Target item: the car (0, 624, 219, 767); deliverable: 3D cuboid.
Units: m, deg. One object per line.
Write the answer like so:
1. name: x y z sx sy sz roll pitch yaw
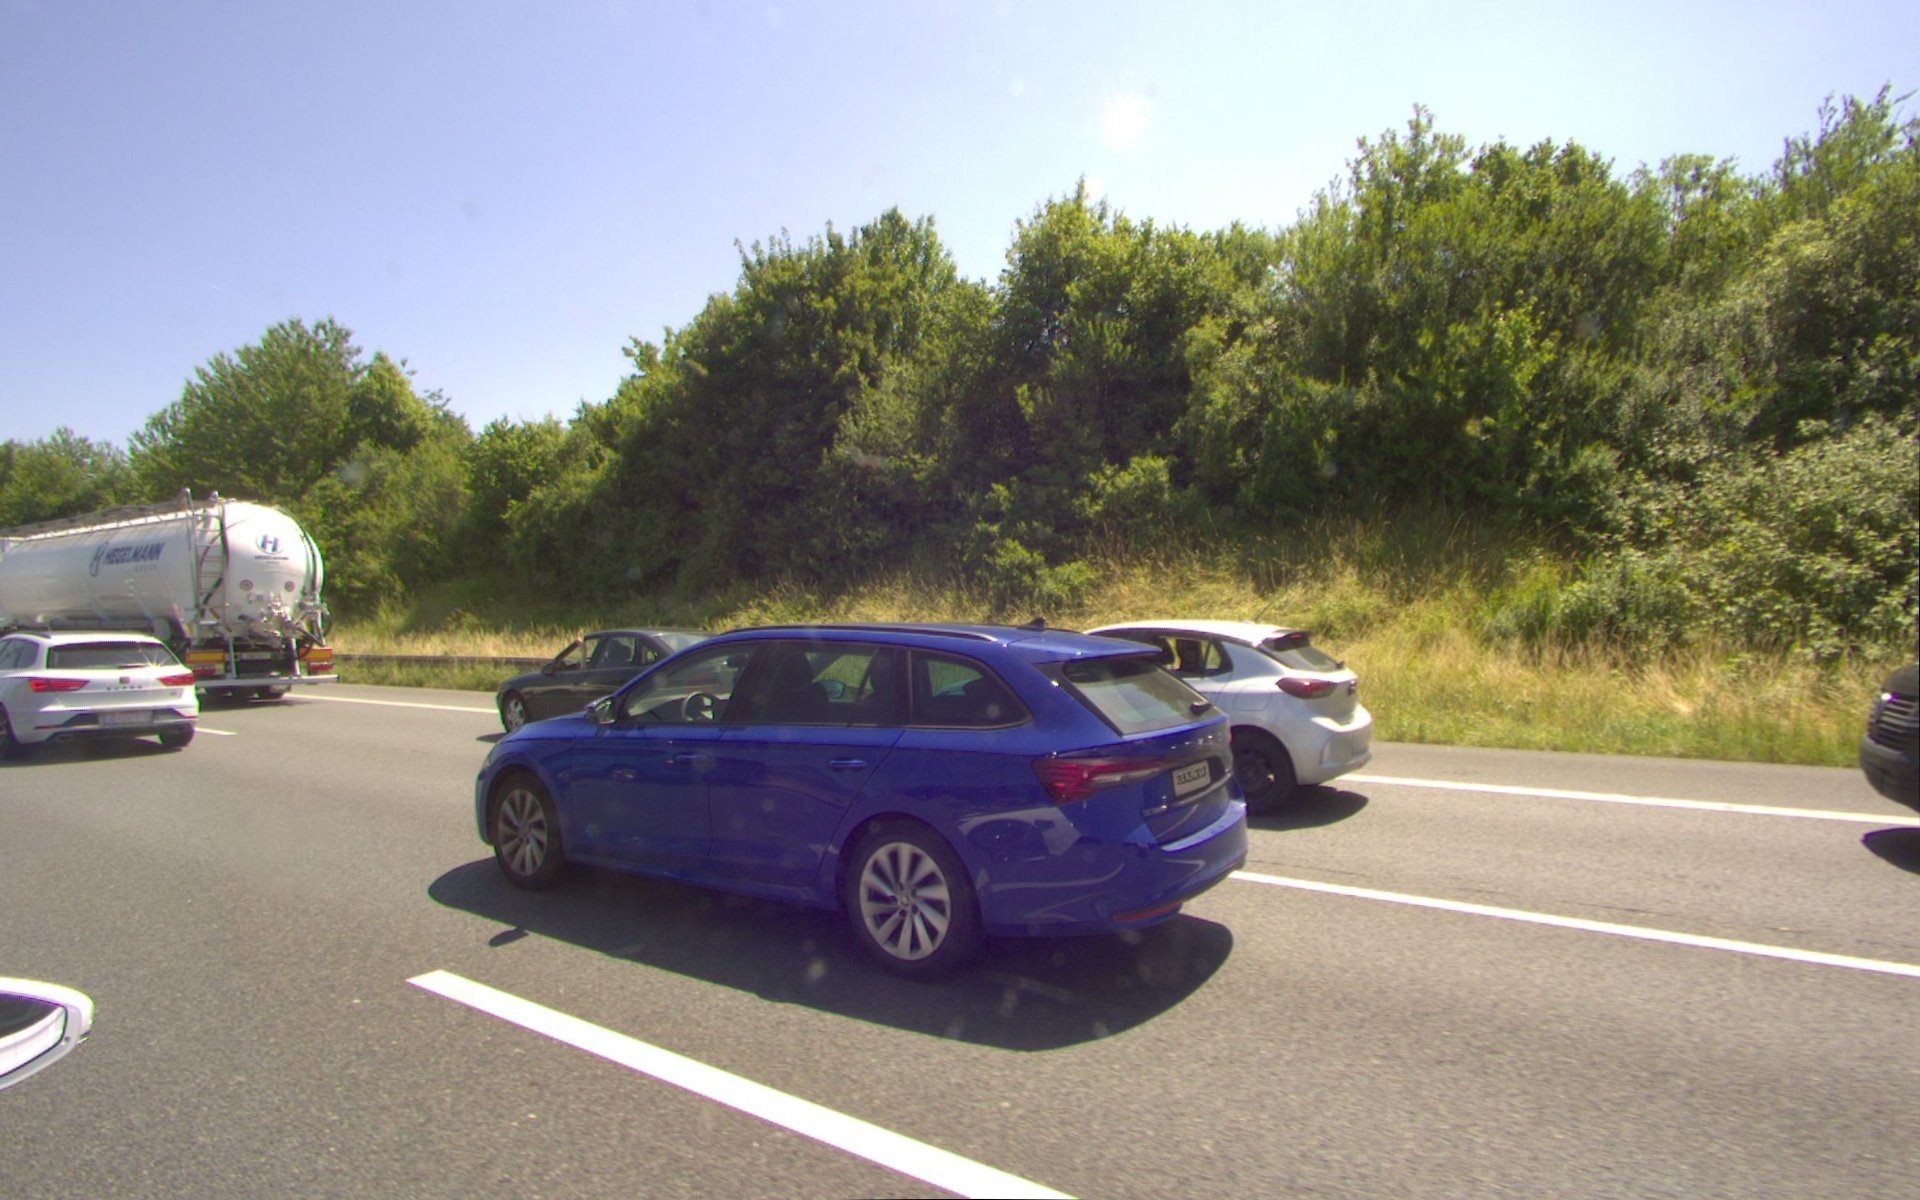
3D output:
1. car: -11.157 1.090 12.541 4.256 1.462 1.742 -2 -1 35

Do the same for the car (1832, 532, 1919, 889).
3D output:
1. car: 7.670 0.538 4.980 4.792 1.965 1.908 -2 0 35

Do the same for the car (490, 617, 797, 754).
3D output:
1. car: -4.076 1.001 12.680 3.936 1.435 1.636 -2 0 35

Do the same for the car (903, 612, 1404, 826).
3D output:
1. car: 1.596 0.846 8.762 3.972 1.462 1.726 0 0 34

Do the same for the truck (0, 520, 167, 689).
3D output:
1. truck: -23.169 0.152 25.738 5.495 3.887 2.786 -1 0 34

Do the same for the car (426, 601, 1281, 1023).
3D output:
1. car: -0.783 0.807 5.458 4.509 1.435 1.772 -2 0 33

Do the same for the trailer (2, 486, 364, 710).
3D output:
1. trailer: -17.202 0.058 21.692 11.328 3.895 2.754 -1 0 34
